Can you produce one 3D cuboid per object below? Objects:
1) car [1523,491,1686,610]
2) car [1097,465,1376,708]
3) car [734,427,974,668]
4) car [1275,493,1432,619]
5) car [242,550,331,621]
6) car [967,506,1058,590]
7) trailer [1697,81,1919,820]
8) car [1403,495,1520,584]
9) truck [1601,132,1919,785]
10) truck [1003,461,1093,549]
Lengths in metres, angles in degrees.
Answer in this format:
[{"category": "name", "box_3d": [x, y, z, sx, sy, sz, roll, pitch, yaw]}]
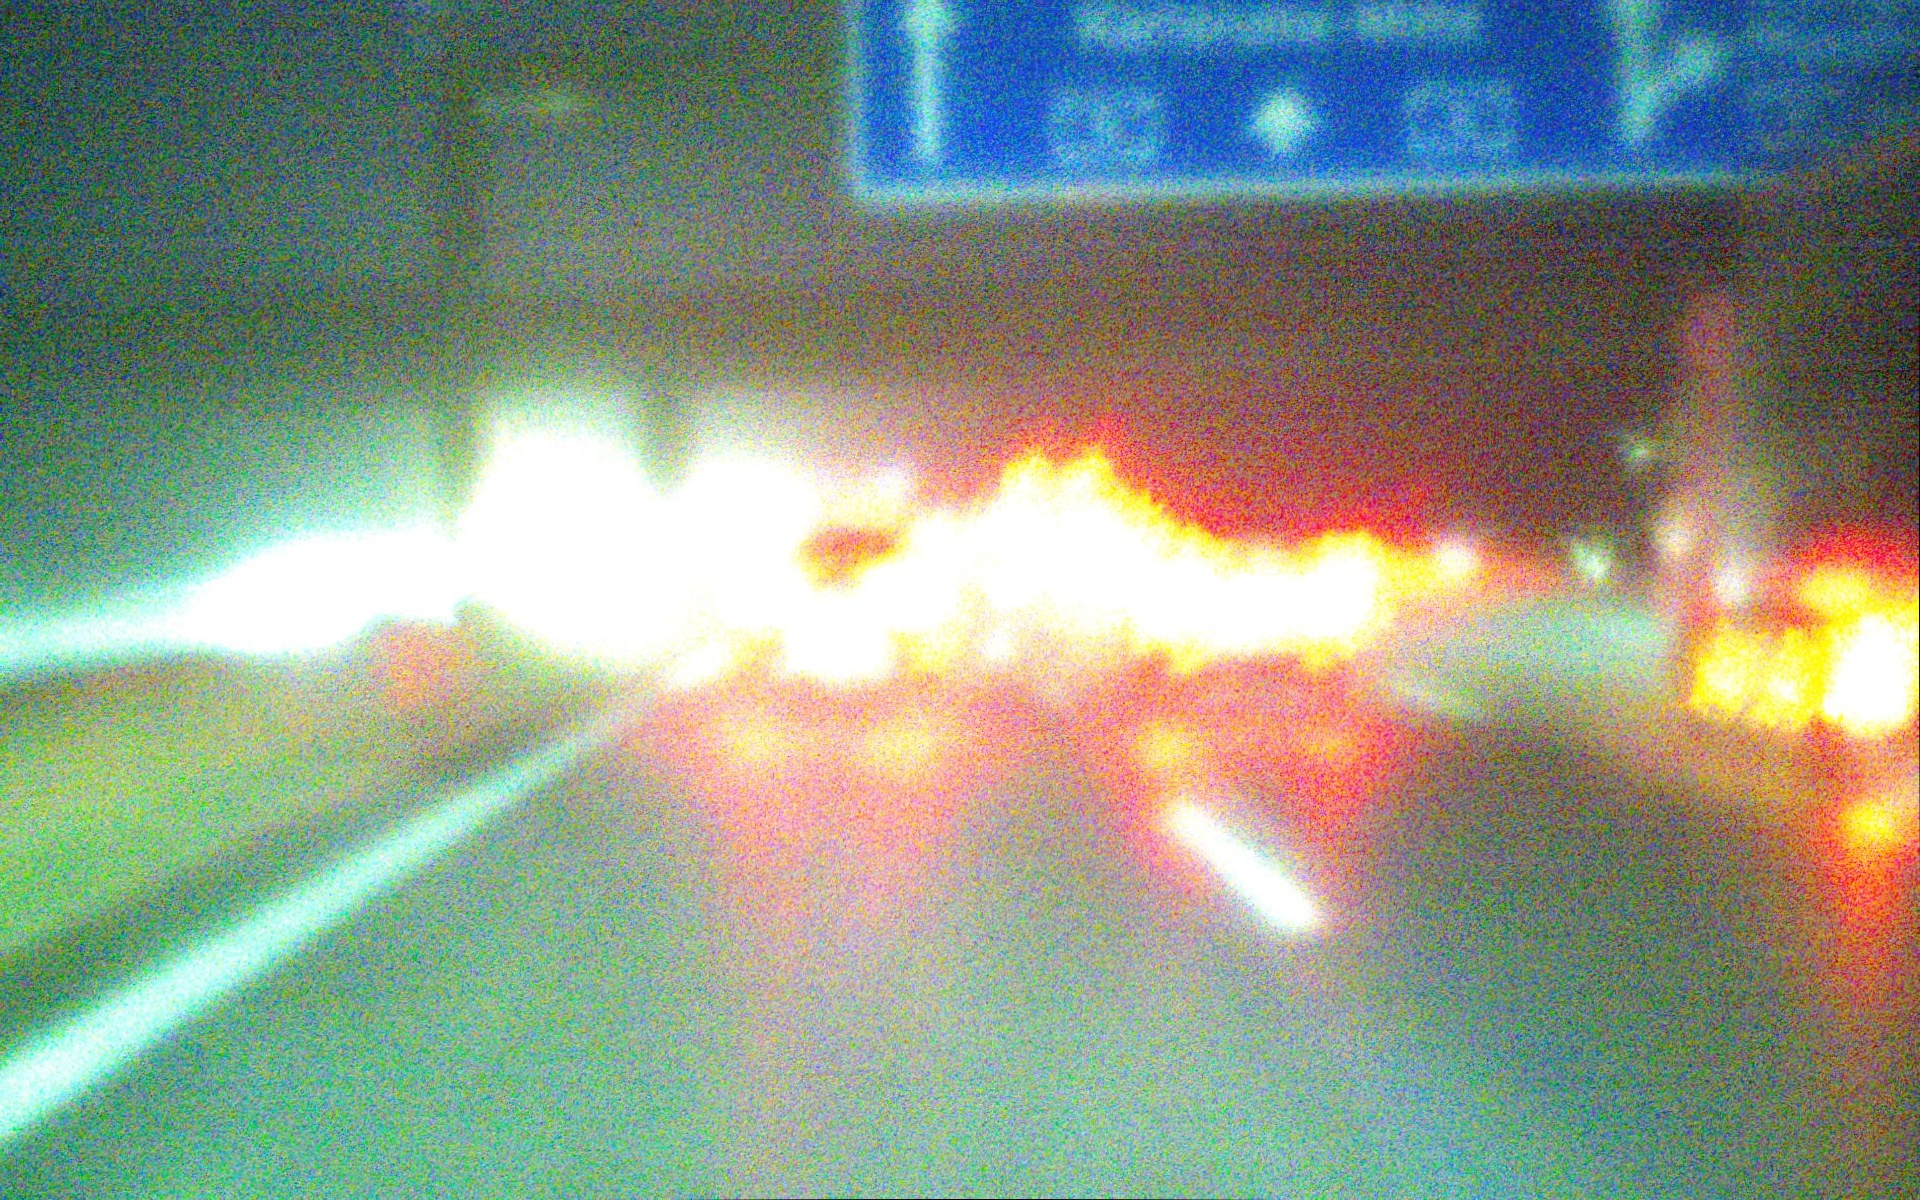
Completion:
[{"category": "car", "box_3d": [11.631, -0.915, 62.293, 1.993, 2.007, 4.001, -2, 1, -2]}, {"category": "car", "box_3d": [2.441, -0.159, 31.367, 1.993, 2.007, 4.001, -2, 1, -2]}, {"category": "car", "box_3d": [-0.923, -0.487, 31.001, 1.993, 2.007, 4.000, 1, 1, -1]}, {"category": "car", "box_3d": [6.642, -0.765, 58.438, 1.993, 2.007, 4.001, -2, 1, -2]}, {"category": "car", "box_3d": [-20.277, -0.462, 103.618, 1.993, 2.007, 4.001, -2, 1, -2]}, {"category": "car", "box_3d": [1.306, -1.334, 86.838, 1.993, 2.007, 4.001, -2, 1, -2]}, {"category": "trailer", "box_3d": [6.873, -0.816, 17.399, 3.041, 4.094, 13.830, -2, 1, -1]}, {"category": "car", "box_3d": [11.997, -1.466, 82.476, 1.993, 2.007, 4.001, -2, 1, -2]}, {"category": "truck", "box_3d": [6.750, -0.998, 24.642, 3.041, 4.094, 5.799, -2, 1, -1]}, {"category": "truck", "box_3d": [3.419, -3.761, 136.818, 3.037, 3.286, 11.382, -2, 1, -1]}]
